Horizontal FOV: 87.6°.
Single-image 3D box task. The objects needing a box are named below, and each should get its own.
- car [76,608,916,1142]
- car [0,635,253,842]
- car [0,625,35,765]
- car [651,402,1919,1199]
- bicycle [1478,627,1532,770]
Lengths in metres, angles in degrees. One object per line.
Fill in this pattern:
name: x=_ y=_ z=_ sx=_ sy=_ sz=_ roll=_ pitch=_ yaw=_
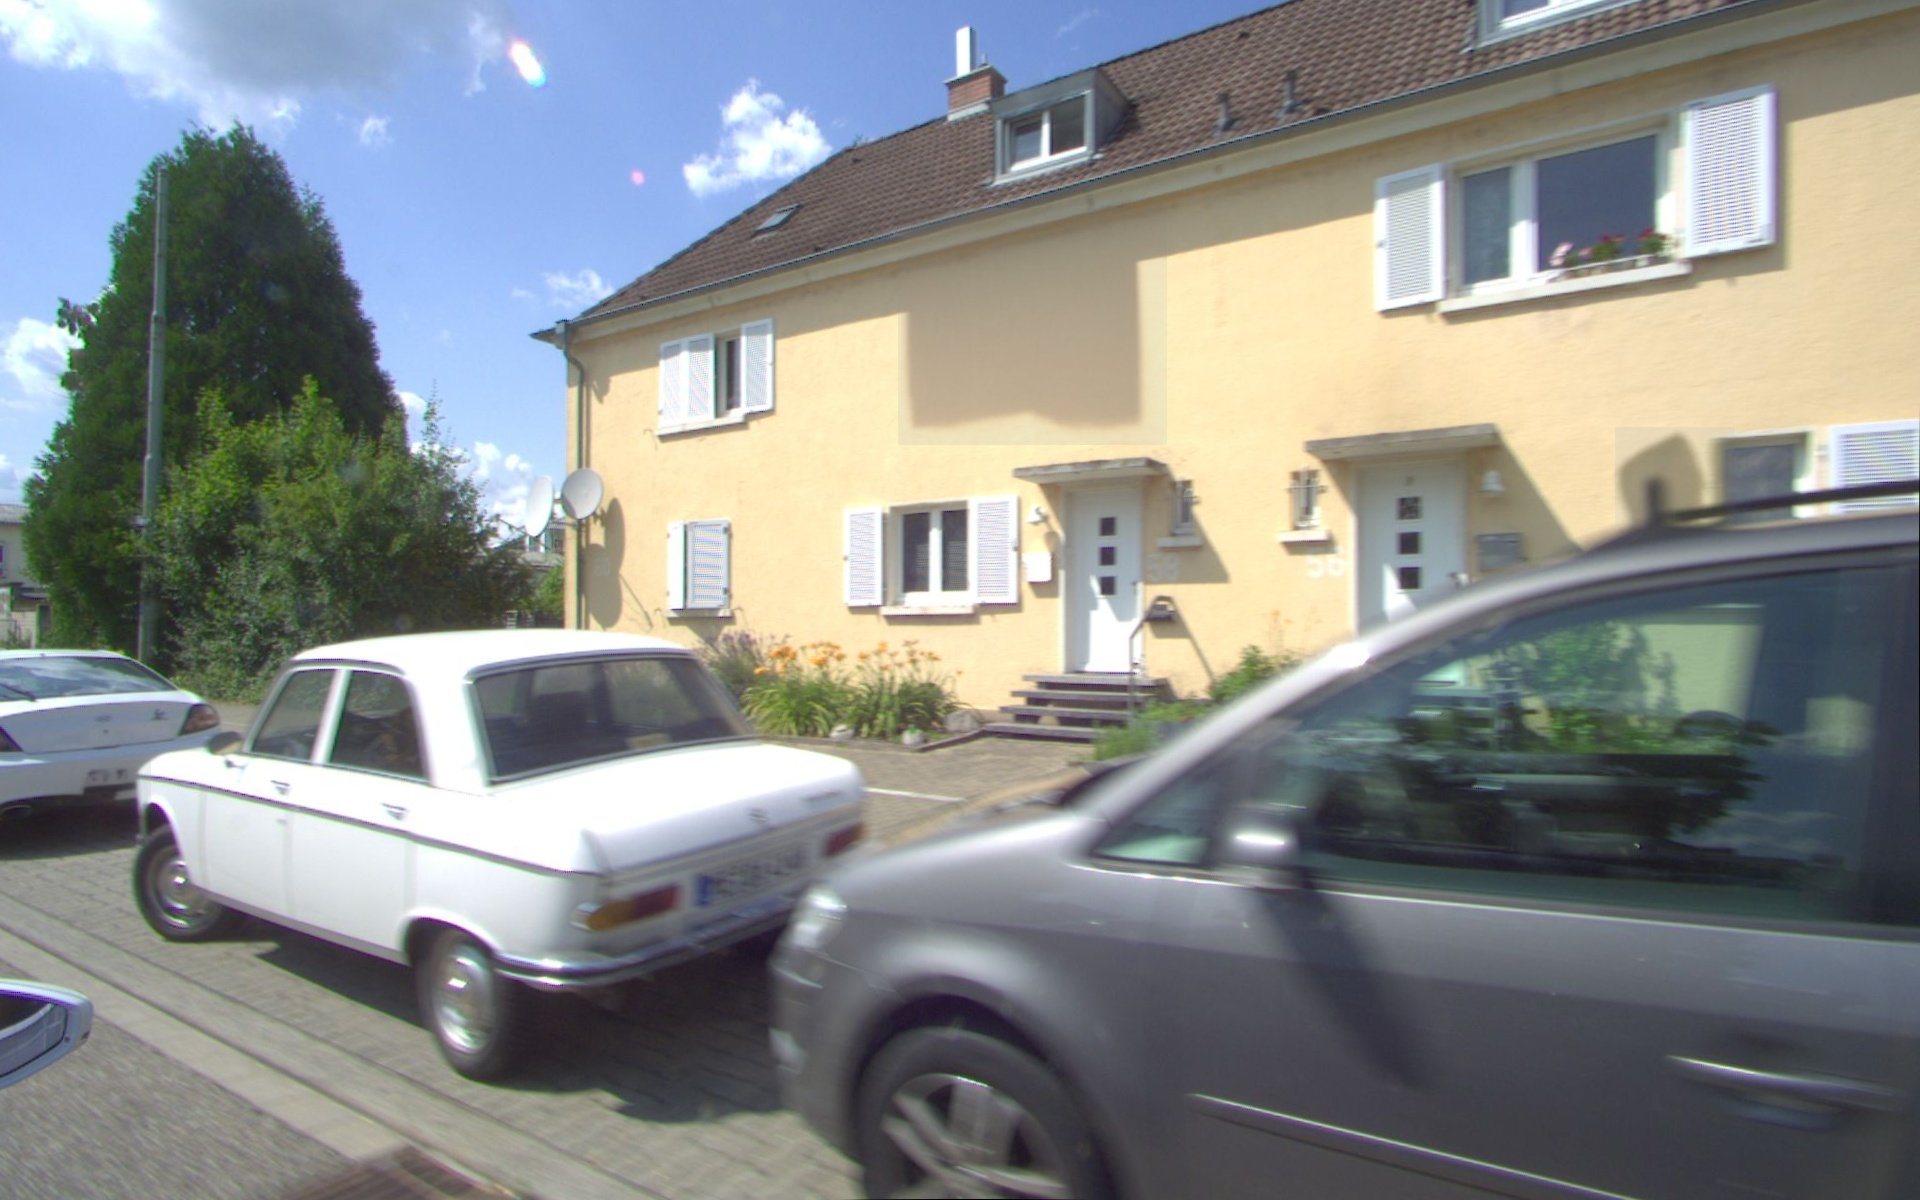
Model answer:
car: x=-2.273 y=0.807 z=4.515 sx=3.971 sy=1.436 sz=1.646 roll=-2 pitch=-2 yaw=34
car: x=-7.516 y=0.944 z=7.956 sx=4.071 sy=1.311 sz=1.718 roll=-1 pitch=-2 yaw=33
car: x=-11.999 y=1.000 z=10.941 sx=4.770 sy=1.420 sz=1.717 roll=-2 pitch=-2 yaw=34
car: x=1.447 y=0.611 z=2.028 sx=4.211 sy=1.651 sz=1.676 roll=-1 pitch=-2 yaw=33
bicycle: x=4.712 y=0.812 z=8.621 sx=0.286 sy=1.116 sz=1.687 roll=-1 pitch=-3 yaw=33
